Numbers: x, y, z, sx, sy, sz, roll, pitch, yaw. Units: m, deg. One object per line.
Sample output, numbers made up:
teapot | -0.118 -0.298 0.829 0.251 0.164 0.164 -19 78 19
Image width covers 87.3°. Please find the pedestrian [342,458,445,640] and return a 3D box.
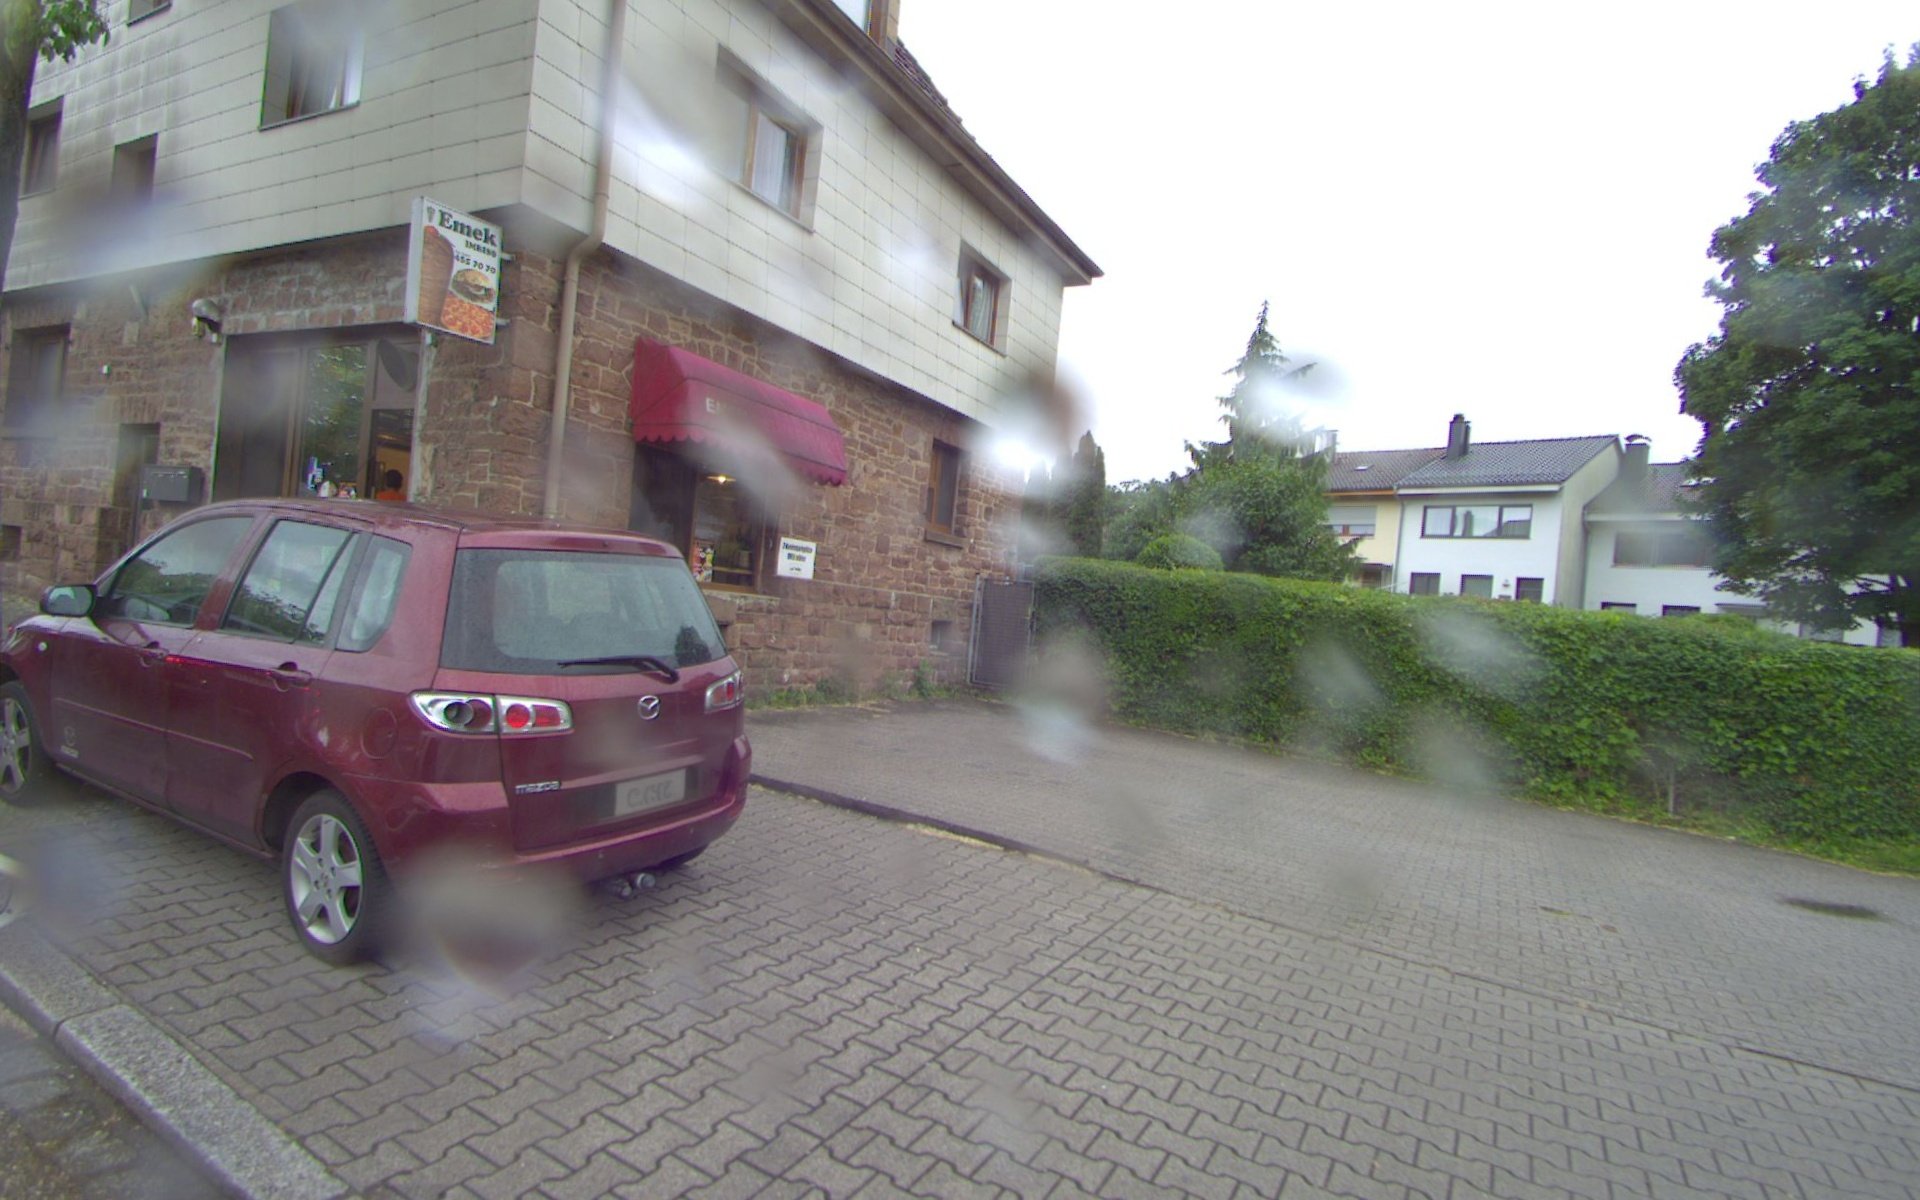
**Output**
pedestrian | -6.114 -0.533 10.867 0.475 1.862 0.638 8 1 31

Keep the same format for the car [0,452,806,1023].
car | -2.649 0.285 4.428 3.564 1.511 1.585 8 3 28
